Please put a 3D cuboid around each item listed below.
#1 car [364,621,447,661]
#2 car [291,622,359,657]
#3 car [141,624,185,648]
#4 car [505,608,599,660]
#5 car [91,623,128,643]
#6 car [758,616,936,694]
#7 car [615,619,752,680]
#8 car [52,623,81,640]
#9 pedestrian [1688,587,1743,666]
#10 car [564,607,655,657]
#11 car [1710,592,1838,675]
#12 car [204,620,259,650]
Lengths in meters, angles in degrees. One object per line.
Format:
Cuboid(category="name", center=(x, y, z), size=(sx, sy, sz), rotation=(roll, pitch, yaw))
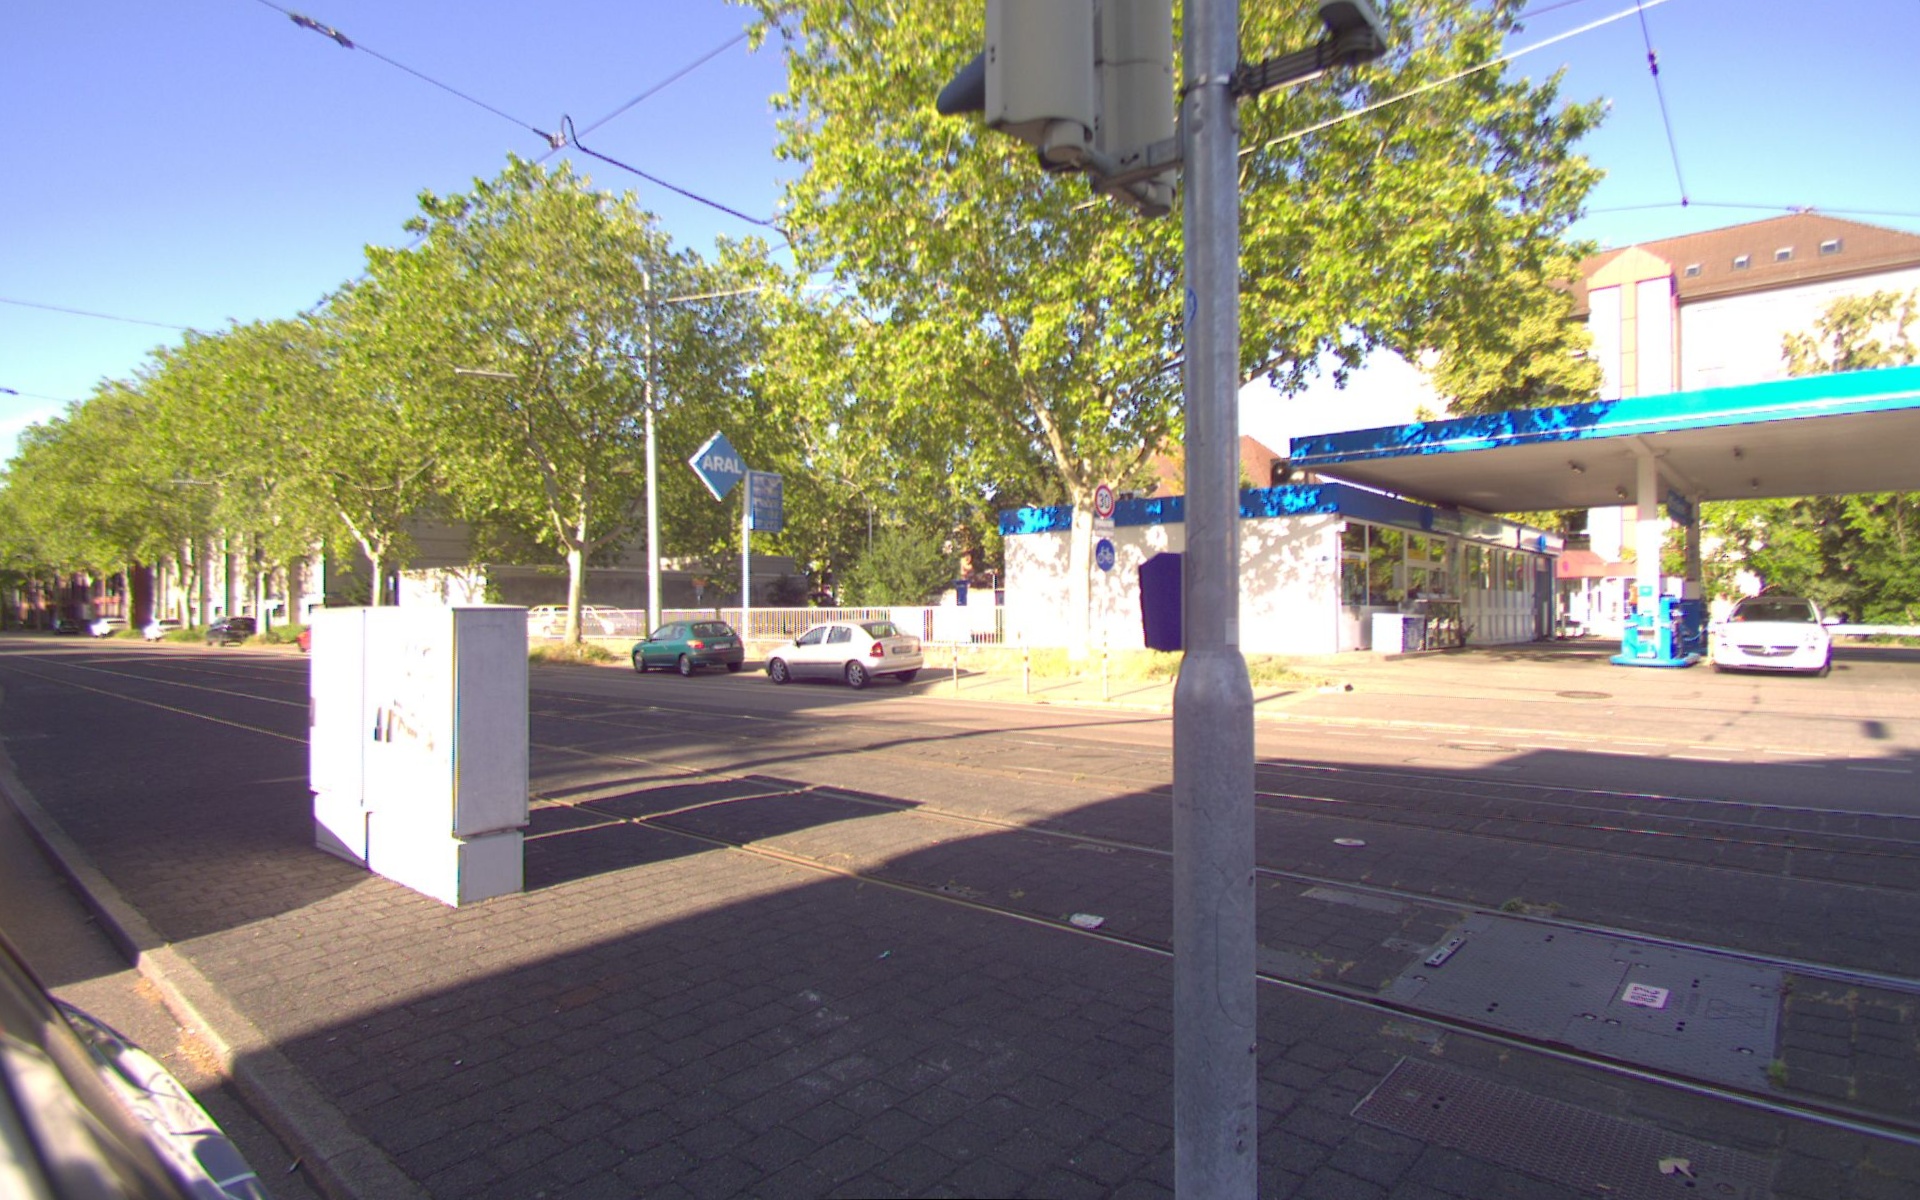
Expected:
Cuboid(category="car", center=(-21.994, 1.589, 40.094), size=(3.858, 1.468, 1.735), rotation=(-1, 0, 43))
Cuboid(category="car", center=(-28.921, 1.775, 46.048), size=(3.858, 1.440, 1.695), rotation=(-1, 0, 43))
Cuboid(category="car", center=(-53.648, 2.399, 68.123), size=(3.858, 1.495, 1.735), rotation=(-1, 0, 43))
Cuboid(category="car", center=(-17.053, 1.395, 42.266), size=(3.996, 2.029, 1.974), rotation=(-1, -1, 39))
Cuboid(category="car", center=(-66.937, 2.579, 79.642), size=(3.858, 1.495, 1.735), rotation=(-1, 0, 43))
Cuboid(category="car", center=(-2.582, 1.169, 22.600), size=(3.857, 1.497, 1.823), rotation=(-1, 1, 42))
Cuboid(category="car", center=(-7.442, 1.276, 27.079), size=(3.858, 1.408, 1.722), rotation=(-1, 1, 43))
Cuboid(category="car", center=(-84.884, 3.011, 96.116), size=(3.858, 1.495, 1.735), rotation=(-1, 0, 43))
Cuboid(category="pedestrian", center=(16.133, 0.556, 21.625), size=(0.637, 1.642, 0.814), rotation=(1, -2, -42))
Cuboid(category="car", center=(-15.155, 1.364, 43.693), size=(3.996, 2.029, 1.974), rotation=(-1, -1, 39))
Cuboid(category="car", center=(15.933, 0.615, 19.787), size=(1.793, 1.453, 3.946), rotation=(-1, -1, 40))
Cuboid(category="car", center=(-40.685, 1.956, 56.488), size=(3.858, 1.557, 1.735), rotation=(-1, 0, 43))
